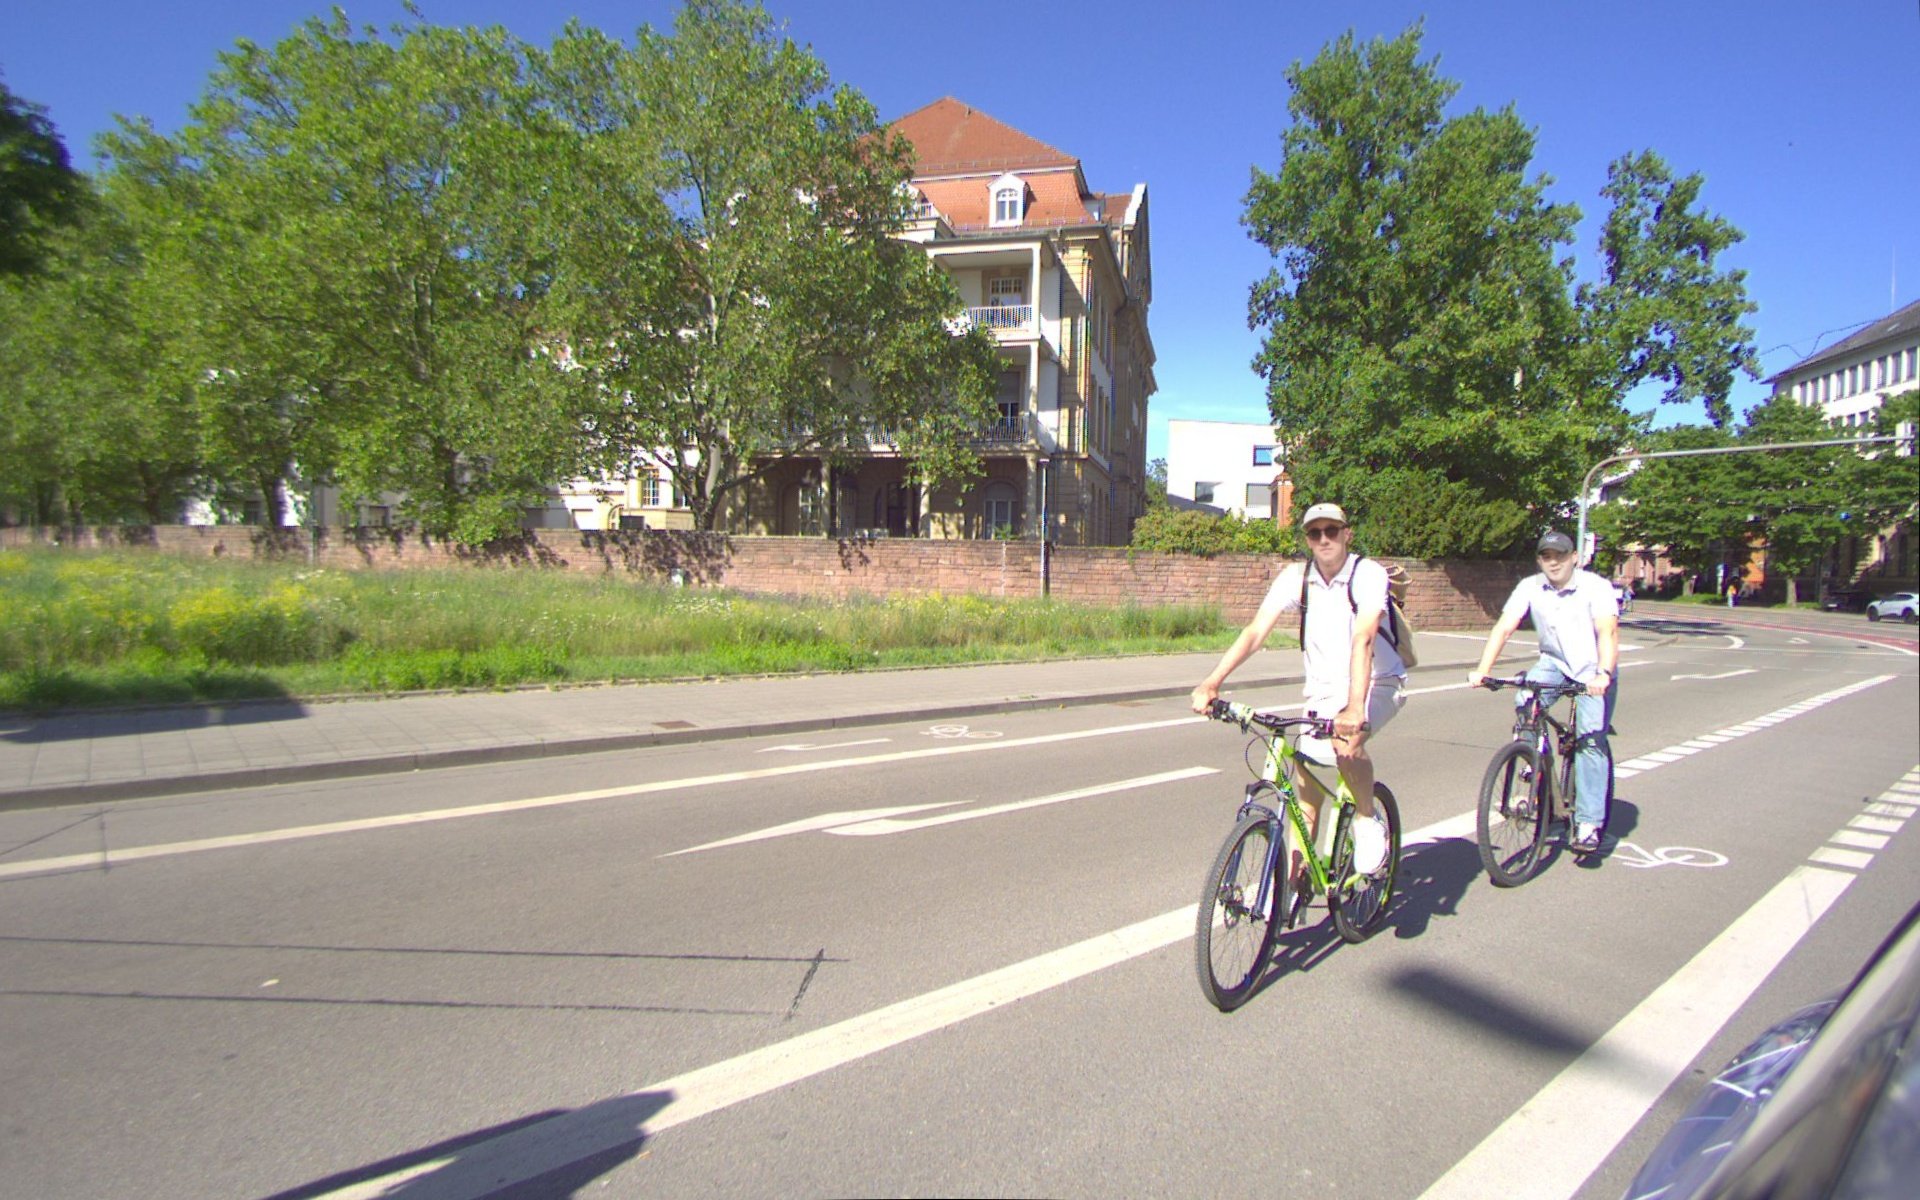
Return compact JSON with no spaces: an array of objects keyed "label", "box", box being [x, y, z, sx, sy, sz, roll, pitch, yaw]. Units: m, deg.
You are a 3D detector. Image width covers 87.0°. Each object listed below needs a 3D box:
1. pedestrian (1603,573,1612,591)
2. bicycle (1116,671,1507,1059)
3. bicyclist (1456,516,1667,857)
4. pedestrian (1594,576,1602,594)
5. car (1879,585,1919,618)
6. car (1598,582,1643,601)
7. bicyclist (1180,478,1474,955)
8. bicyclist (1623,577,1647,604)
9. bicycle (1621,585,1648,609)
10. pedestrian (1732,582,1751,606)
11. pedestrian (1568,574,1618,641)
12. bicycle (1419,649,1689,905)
[{"label":"pedestrian","box":[69.775,-1.969,109.114,0.751,1.836,0.969,1,-3,30]},{"label":"bicycle","box":[1.457,0.880,3.997,1.812,1.064,0.672,0,0,-42]},{"label":"bicyclist","box":[3.317,0.414,5.582,0.851,1.694,0.741,0,2,-42]},{"label":"pedestrian","box":[69.351,-1.608,109.977,0.752,1.836,0.968,1,-3,33]},{"label":"car","box":[48.898,0.136,51.085,1.821,1.571,4.317,3,3,15]},{"label":"car","box":[56.533,-0.772,86.691,1.822,1.504,4.149,2,2,14]},{"label":"bicyclist","box":[1.470,0.387,4.016,1.062,1.603,0.675,0,0,-41]},{"label":"bicyclist","box":[41.224,-0.607,61.832,0.859,1.579,1.272,2,2,20]},{"label":"bicycle","box":[41.233,-0.221,61.871,0.753,1.385,2.719,2,2,21]},{"label":"pedestrian","box":[61.014,-0.484,79.054,0.745,1.835,0.978,1,1,9]},{"label":"pedestrian","box":[18.405,0.197,29.442,0.718,1.872,0.961,0,3,-37]},{"label":"bicycle","box":[3.350,0.874,5.635,1.870,1.063,0.749,0,2,-42]}]
